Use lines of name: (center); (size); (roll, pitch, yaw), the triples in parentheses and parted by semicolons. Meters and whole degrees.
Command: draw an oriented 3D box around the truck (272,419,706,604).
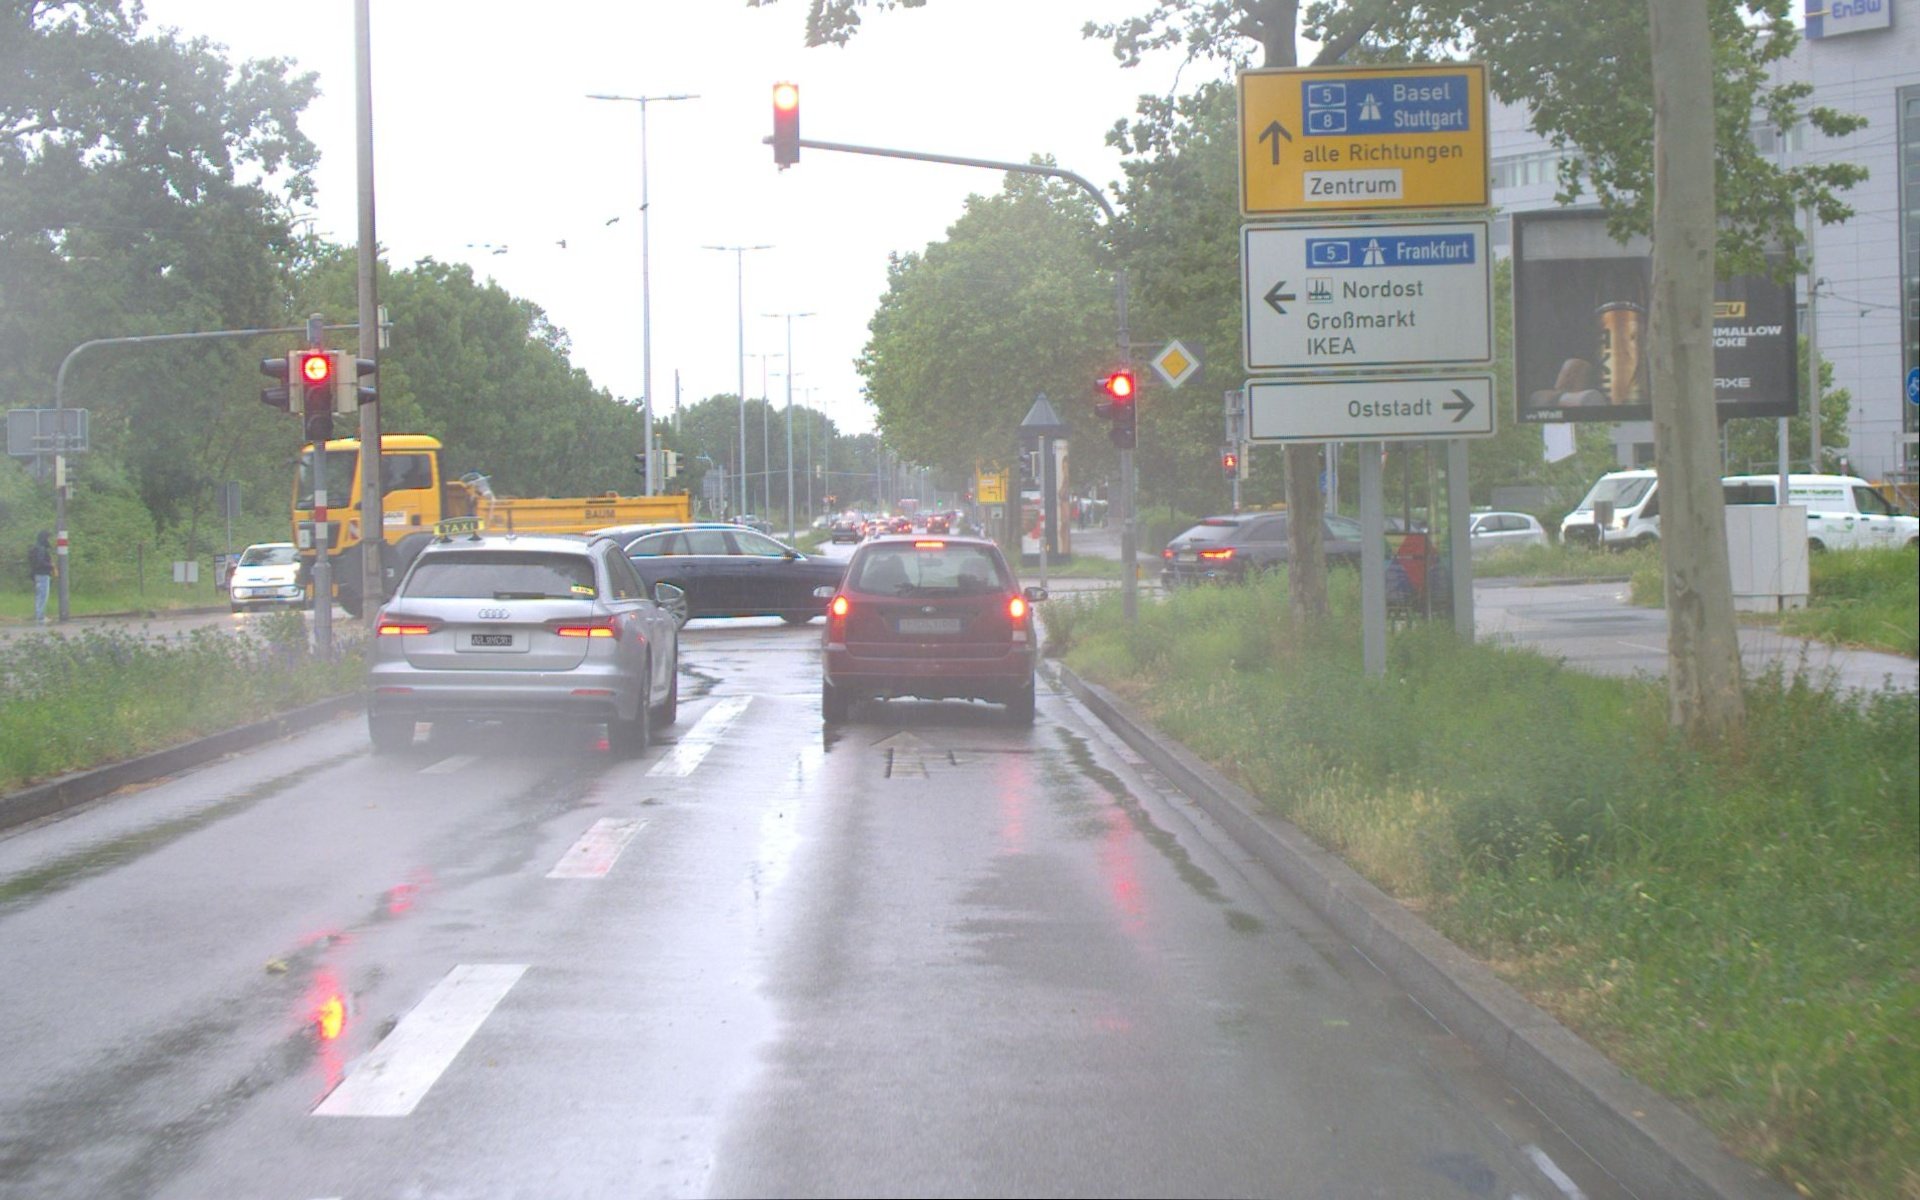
truck: (-8.117, -1.541, 59.754); (7.027, 3.043, 2.646); (-2, 1, -37)

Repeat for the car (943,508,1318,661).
car: (2.075, -0.227, 41.018); (4.375, 1.531, 1.801); (-5, 4, -40)

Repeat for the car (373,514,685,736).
car: (-2.961, 0.118, 24.461); (1.690, 1.428, 4.574); (0, 1, -1)

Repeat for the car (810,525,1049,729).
car: (-0.260, 0.166, 28.319); (1.796, 1.532, 4.387); (1, 1, -1)

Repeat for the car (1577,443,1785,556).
car: (15.577, -2.182, 74.170); (4.374, 2.183, 1.802); (-5, 3, -35)

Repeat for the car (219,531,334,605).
car: (-14.892, -0.716, 75.075); (1.712, 1.525, 4.000); (-1, 1, -1)

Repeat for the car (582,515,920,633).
car: (-2.926, -0.381, 48.390); (4.372, 1.532, 1.802); (-2, 1, -29)

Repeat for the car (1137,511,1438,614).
car: (5.061, -0.594, 53.003); (4.372, 1.532, 1.802); (-1, 1, -29)

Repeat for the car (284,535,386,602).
car: (-14.800, -0.769, 81.614); (1.712, 1.525, 4.000); (-1, 1, -1)

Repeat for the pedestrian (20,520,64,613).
pedestrian: (-17.598, -0.640, 65.911); (0.533, 1.779, 0.673); (1, 0, 17)

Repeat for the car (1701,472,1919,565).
car: (15.049, -1.412, 59.200); (4.372, 1.532, 1.802); (-2, 1, -29)
